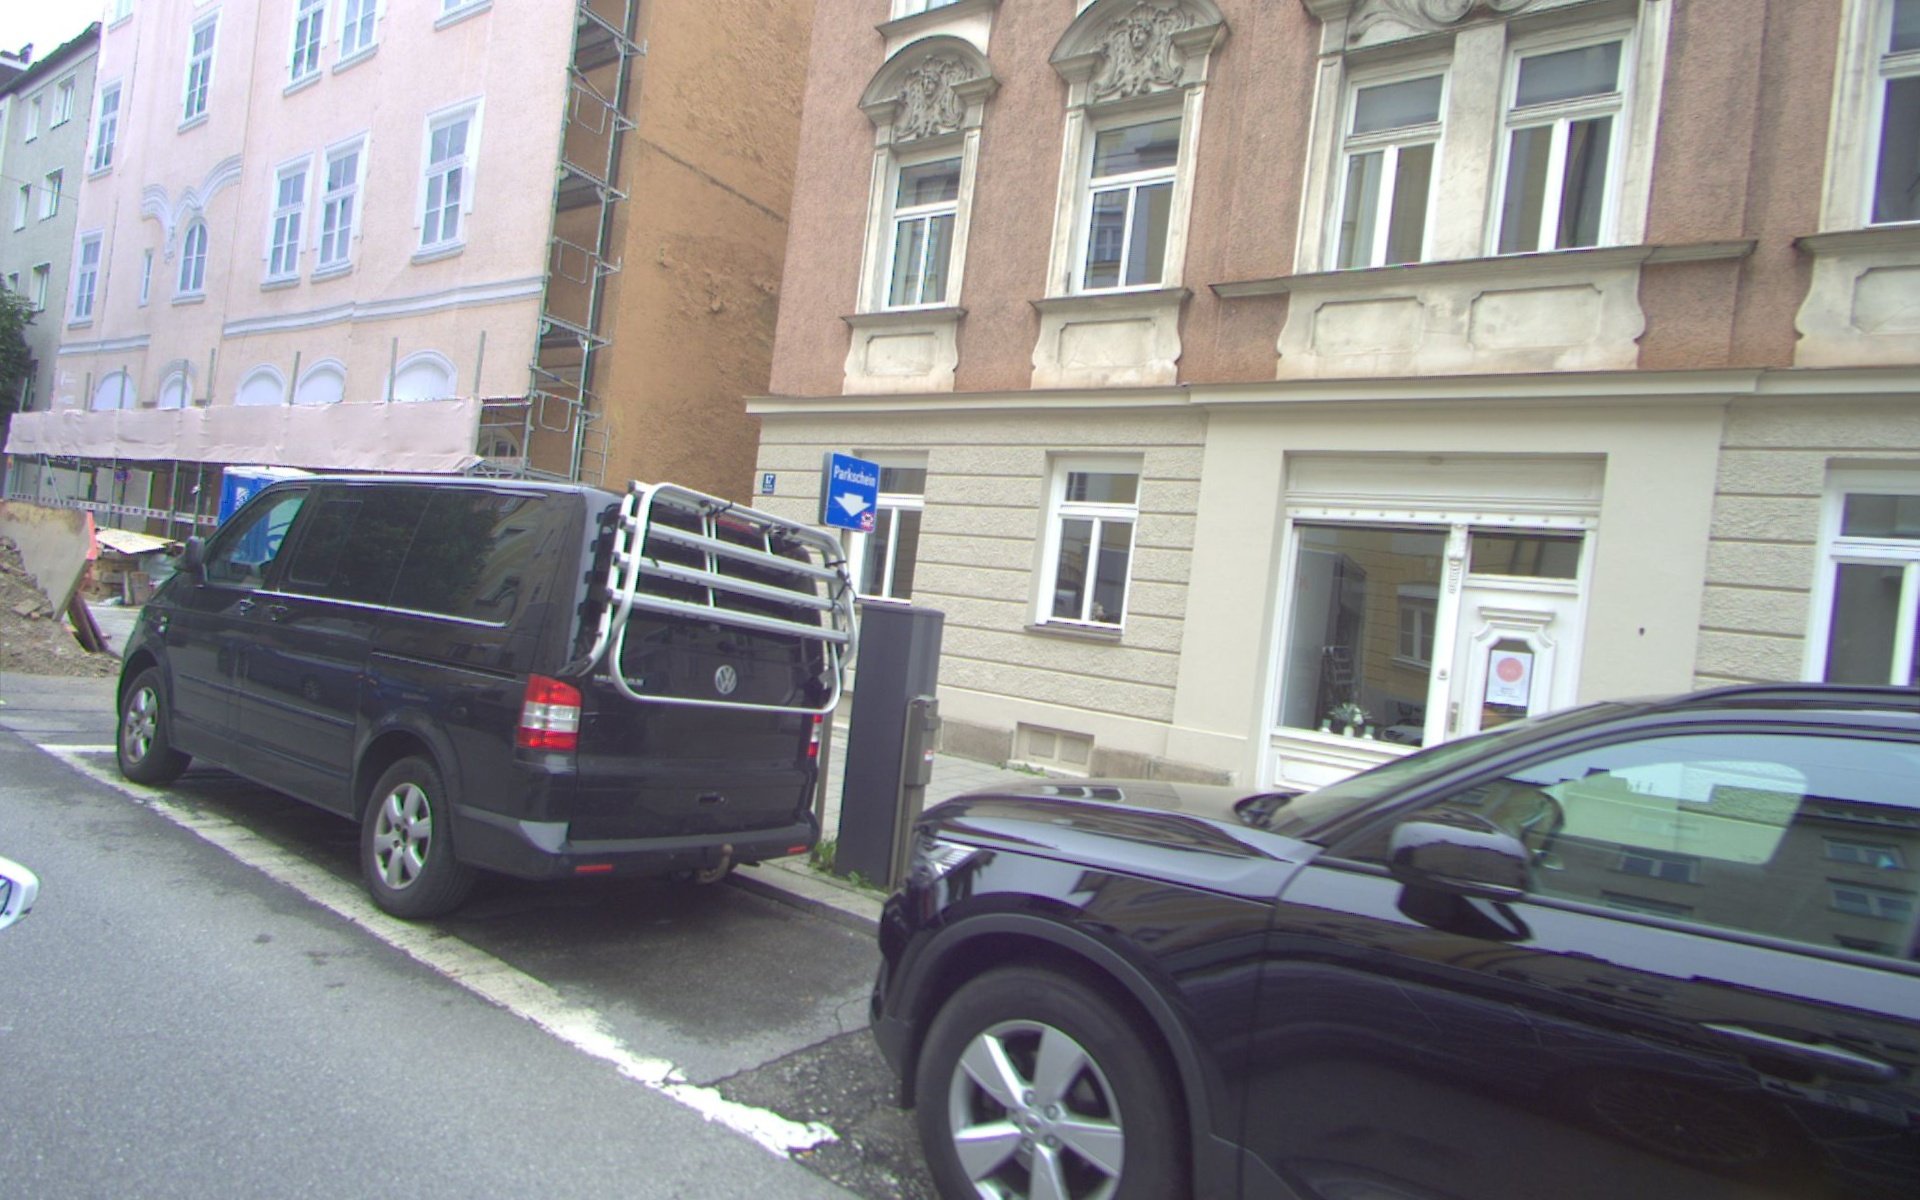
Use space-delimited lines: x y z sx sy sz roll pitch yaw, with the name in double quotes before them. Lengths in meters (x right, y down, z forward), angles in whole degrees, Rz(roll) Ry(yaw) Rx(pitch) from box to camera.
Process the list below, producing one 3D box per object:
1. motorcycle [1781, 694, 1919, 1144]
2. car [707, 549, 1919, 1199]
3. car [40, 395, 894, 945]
"motorcycle" 4.203 1.228 3.435 1.966 1.523 0.872 7 -1 35
"car" 1.632 0.996 2.376 4.338 1.694 1.697 6 -4 35
"car" -3.091 0.228 5.847 5.061 1.942 2.085 4 -4 35
